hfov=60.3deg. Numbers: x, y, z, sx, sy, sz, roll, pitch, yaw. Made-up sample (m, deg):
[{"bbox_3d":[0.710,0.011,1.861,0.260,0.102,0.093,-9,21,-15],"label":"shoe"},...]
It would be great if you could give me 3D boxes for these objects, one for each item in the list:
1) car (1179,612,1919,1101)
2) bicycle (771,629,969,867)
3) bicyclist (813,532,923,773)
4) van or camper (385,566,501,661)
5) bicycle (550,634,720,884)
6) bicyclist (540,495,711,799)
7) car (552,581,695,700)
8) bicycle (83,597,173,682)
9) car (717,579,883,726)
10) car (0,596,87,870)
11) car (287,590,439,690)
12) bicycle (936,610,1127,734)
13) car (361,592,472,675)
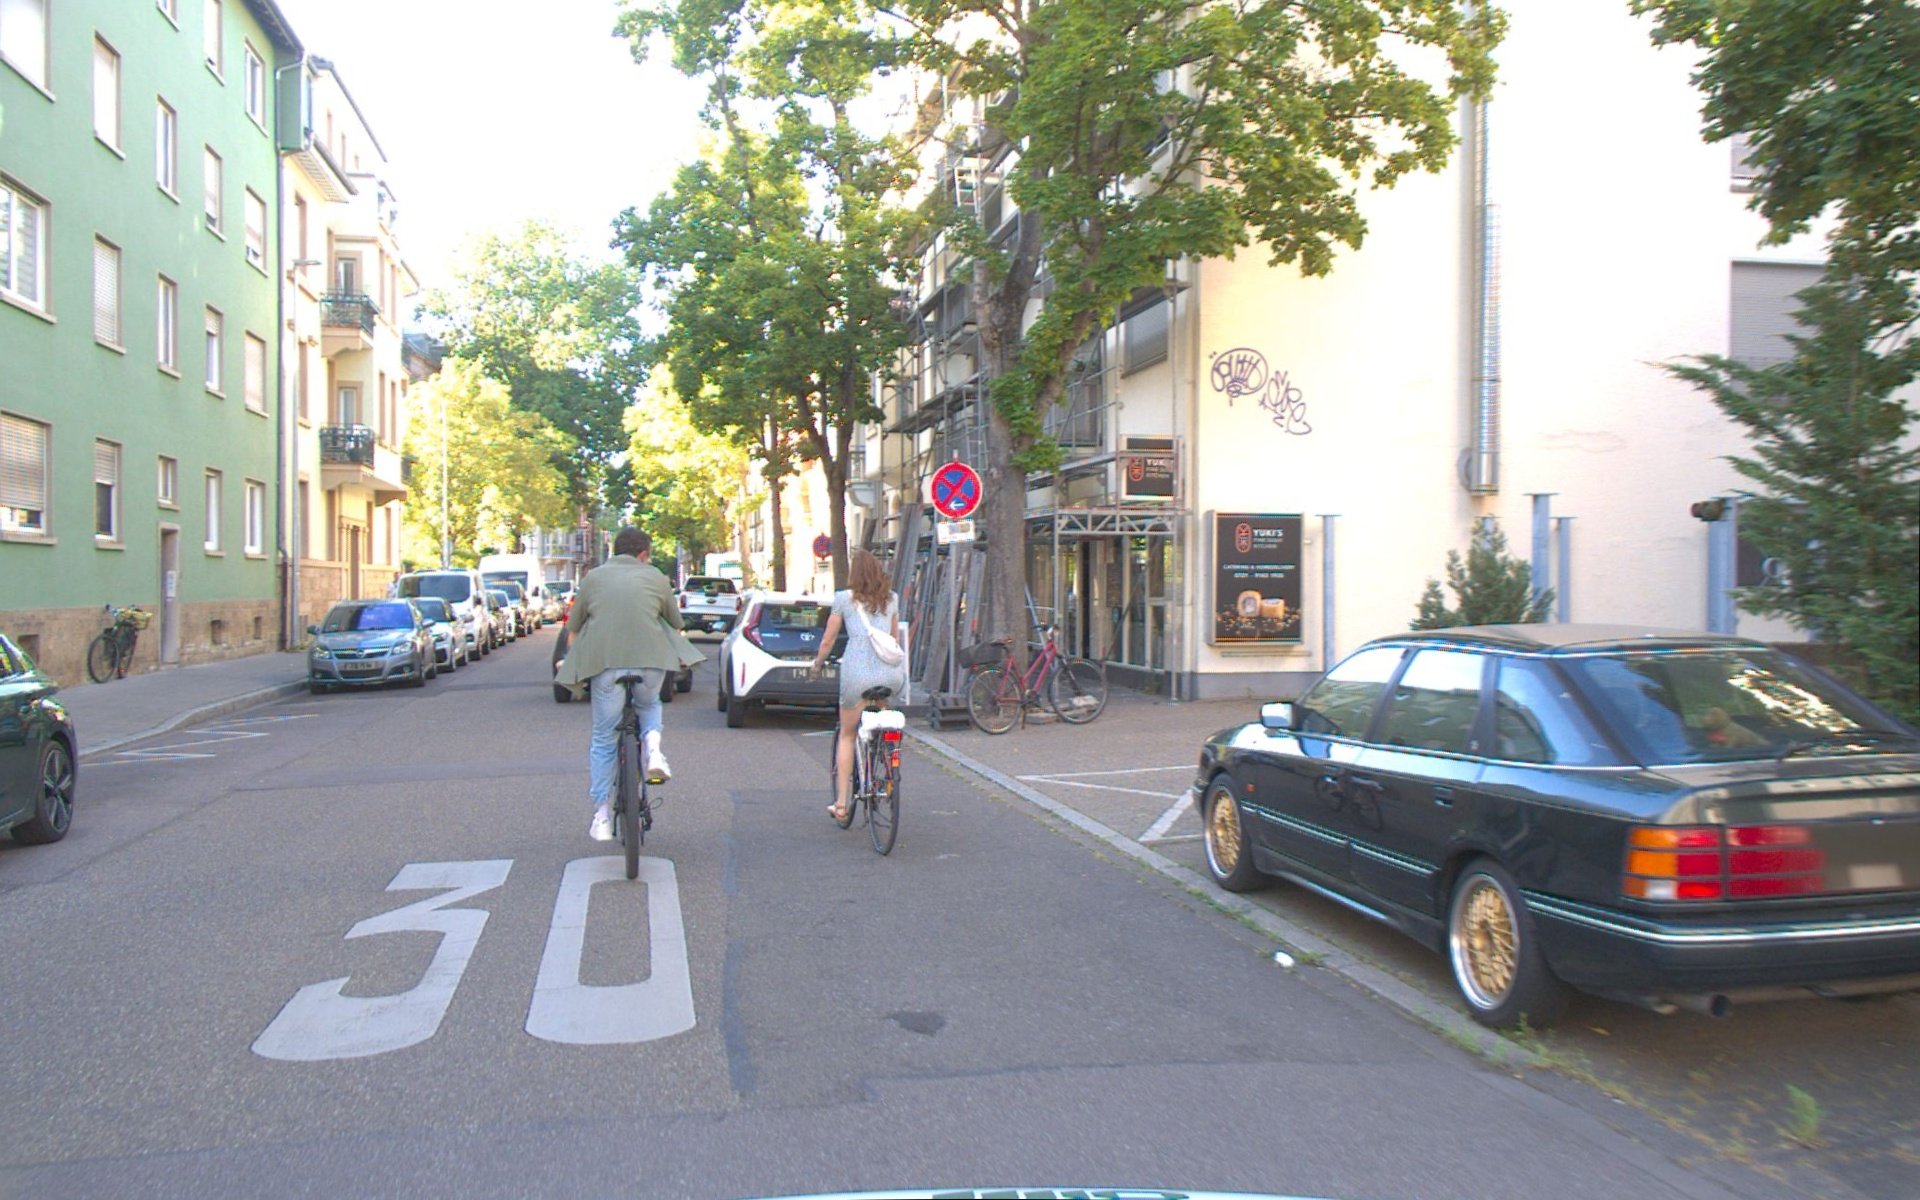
[{"bbox_3d":[2.482,0.790,7.343,1.677,1.412,4.558,1,0,-10],"label":"car"},{"bbox_3d":[-0.618,0.844,10.237,0.824,1.169,2.226,3,1,-12],"label":"bicycle"},{"bbox_3d":[-0.580,0.332,10.156,0.611,1.405,0.867,-1,-4,-6],"label":"bicyclist"},{"bbox_3d":[-11.891,0.271,38.346,1.958,2.049,4.899,-1,0,-10],"label":"van or camper"},{"bbox_3d":[-1.840,0.812,9.367,0.824,1.169,2.226,-1,0,-11],"label":"bicycle"},{"bbox_3d":[-1.819,0.259,9.121,0.865,1.589,0.866,0,-3,-8],"label":"bicyclist"},{"bbox_3d":[-4.696,0.512,23.466,1.526,1.559,3.484,0,1,-4],"label":"car"},{"bbox_3d":[-12.674,0.579,25.268,0.541,1.198,2.273,3,0,-10],"label":"bicycle"},{"bbox_3d":[-1.984,0.570,19.751,1.645,1.572,3.395,2,0,-11],"label":"car"},{"bbox_3d":[-6.077,0.768,8.497,1.722,1.523,4.122,-2,1,-12],"label":"car"},{"bbox_3d":[-9.774,0.587,27.373,1.945,1.481,4.098,-1,1,-14],"label":"car"},{"bbox_3d":[0.787,0.750,17.934,1.959,1.185,0.719,-3,2,-29],"label":"bicycle"},{"bbox_3d":[-10.489,0.605,32.102,1.657,1.479,3.699,-1,0,-13],"label":"car"}]
